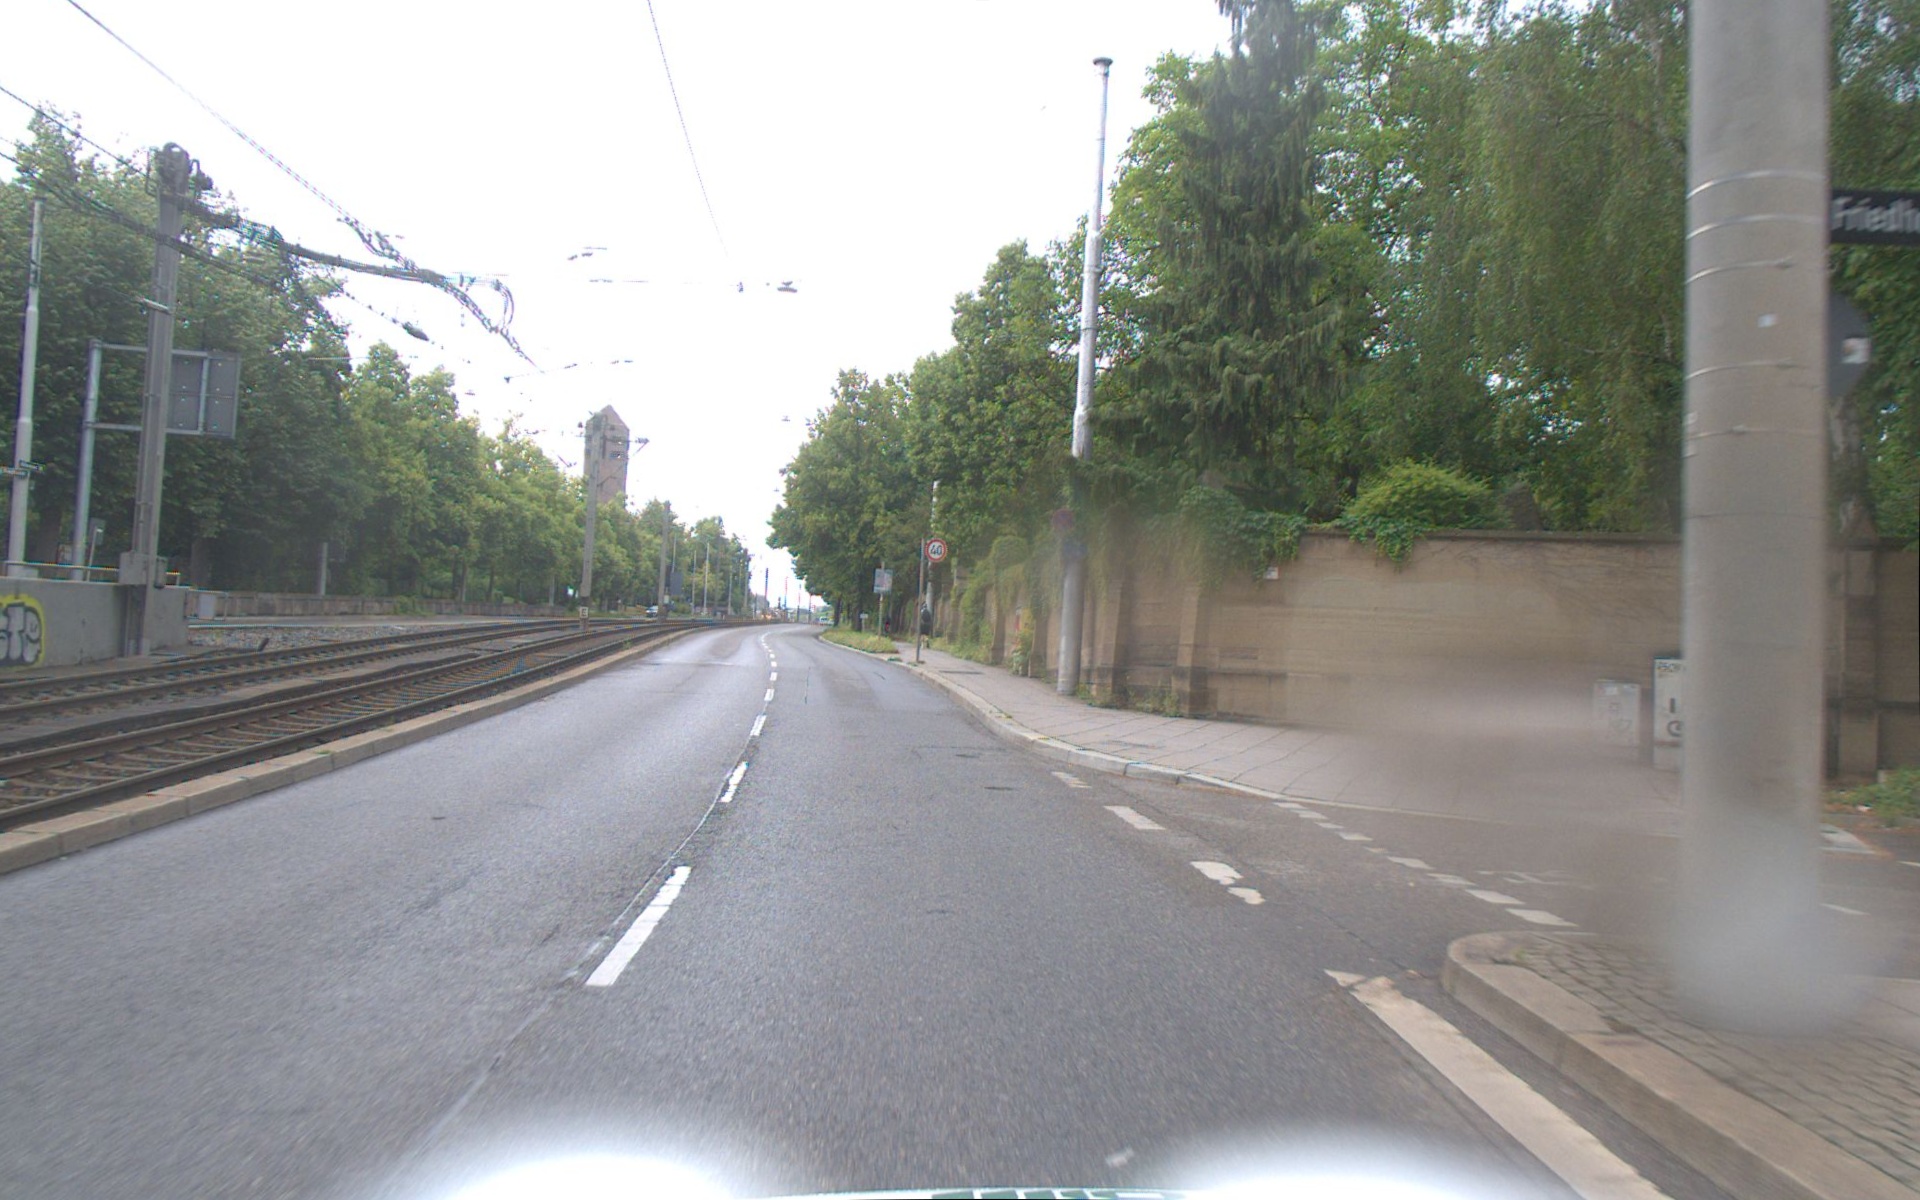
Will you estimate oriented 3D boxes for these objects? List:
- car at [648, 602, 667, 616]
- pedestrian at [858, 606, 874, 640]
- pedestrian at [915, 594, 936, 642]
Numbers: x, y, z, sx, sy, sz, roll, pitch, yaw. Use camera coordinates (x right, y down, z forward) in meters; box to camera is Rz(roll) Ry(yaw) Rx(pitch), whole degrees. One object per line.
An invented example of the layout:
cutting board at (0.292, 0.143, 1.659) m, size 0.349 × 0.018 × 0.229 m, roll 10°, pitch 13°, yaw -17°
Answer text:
car at (-36.122, 1.089, 197.640) m, size 1.759 × 1.536 × 3.845 m, roll 3°, pitch -1°, yaw -5°
pedestrian at (-4.912, 1.175, 86.104) m, size 0.706 × 1.716 × 0.728 m, roll 4°, pitch -2°, yaw -5°
pedestrian at (-1.395, 0.720, 66.555) m, size 0.706 × 1.882 × 0.782 m, roll 4°, pitch -2°, yaw -5°
